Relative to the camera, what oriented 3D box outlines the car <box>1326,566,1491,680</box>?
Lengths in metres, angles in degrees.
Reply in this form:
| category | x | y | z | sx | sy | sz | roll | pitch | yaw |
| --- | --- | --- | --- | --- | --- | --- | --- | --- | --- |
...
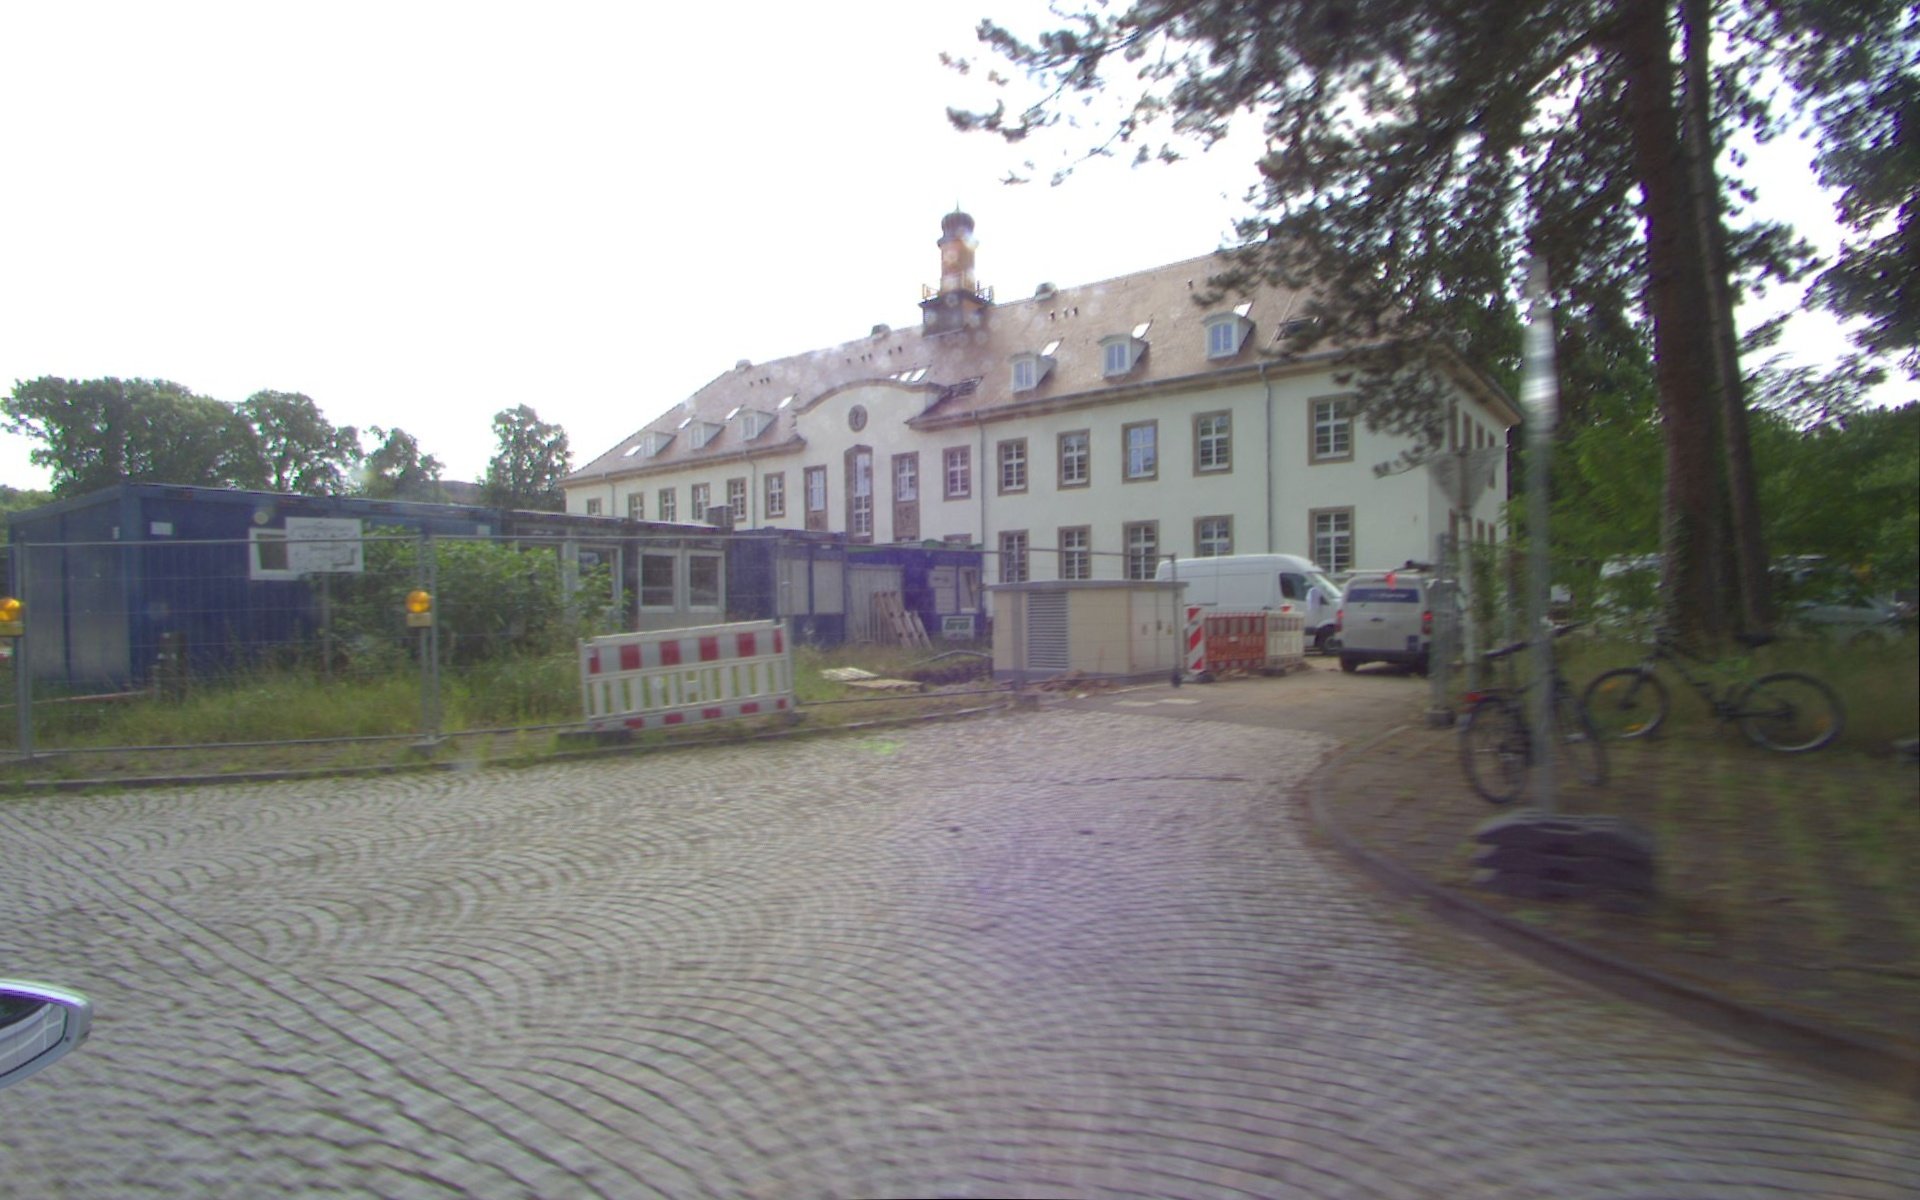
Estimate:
| category | x | y | z | sx | sy | sz | roll | pitch | yaw |
| --- | --- | --- | --- | --- | --- | --- | --- | --- | --- |
| car | 8.903 | 0.404 | 19.632 | 1.882 | 1.946 | 4.841 | 1 | 0 | 37 |

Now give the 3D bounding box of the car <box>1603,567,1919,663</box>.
| category | x | y | z | sx | sy | sz | roll | pitch | yaw |
| --- | --- | --- | --- | --- | --- | --- | --- | --- | --- |
| car | 16.351 | 0.323 | 20.643 | 4.781 | 1.848 | 2.000 | 0 | -2 | 10 |

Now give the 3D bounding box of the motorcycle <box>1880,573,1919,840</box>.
| category | x | y | z | sx | sy | sz | roll | pitch | yaw |
| --- | --- | --- | --- | --- | --- | --- | --- | --- | --- |
| motorcycle | 5.594 | 0.599 | 5.215 | 0.746 | 1.505 | 2.272 | 0 | 0 | 31 |

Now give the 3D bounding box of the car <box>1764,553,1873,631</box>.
| category | x | y | z | sx | sy | sz | roll | pitch | yaw |
| --- | --- | --- | --- | --- | --- | --- | --- | --- | --- |
| car | 26.232 | -0.134 | 30.794 | 2.184 | 2.122 | 6.122 | -1 | -2 | 37 |

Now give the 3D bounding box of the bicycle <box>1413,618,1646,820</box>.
| category | x | y | z | sx | sy | sz | roll | pitch | yaw |
| --- | --- | --- | --- | --- | --- | --- | --- | --- | --- |
| bicycle | 3.984 | 0.747 | 6.952 | 1.880 | 1.213 | 0.651 | 0 | 0 | -34 |

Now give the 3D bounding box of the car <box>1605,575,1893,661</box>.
| category | x | y | z | sx | sy | sz | roll | pitch | yaw |
| --- | --- | --- | --- | --- | --- | --- | --- | --- | --- |
| car | 17.870 | 0.422 | 22.940 | 4.781 | 1.848 | 2.000 | 0 | -2 | 10 |

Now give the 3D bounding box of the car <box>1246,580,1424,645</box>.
| category | x | y | z | sx | sy | sz | roll | pitch | yaw |
| --- | --- | --- | --- | --- | --- | --- | --- | --- | --- |
| car | 11.564 | 0.429 | 31.035 | 4.815 | 1.848 | 1.986 | -1 | -2 | 39 |

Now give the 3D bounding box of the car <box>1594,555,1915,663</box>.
| category | x | y | z | sx | sy | sz | roll | pitch | yaw |
| --- | --- | --- | --- | --- | --- | --- | --- | --- | --- |
| car | 20.136 | 0.246 | 25.651 | 6.298 | 2.611 | 2.000 | 0 | -1 | 7 |

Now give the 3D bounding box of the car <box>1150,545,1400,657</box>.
| category | x | y | z | sx | sy | sz | roll | pitch | yaw |
| --- | --- | --- | --- | --- | --- | --- | --- | --- | --- |
| car | 7.965 | 0.111 | 25.759 | 5.838 | 2.588 | 1.986 | -1 | -2 | 39 |

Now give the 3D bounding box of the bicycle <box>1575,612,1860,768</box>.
| category | x | y | z | sx | sy | sz | roll | pitch | yaw |
| --- | --- | --- | --- | --- | --- | --- | --- | --- | --- |
| bicycle | 6.453 | 0.711 | 8.637 | 1.881 | 1.185 | 0.639 | 1 | 1 | 39 |
